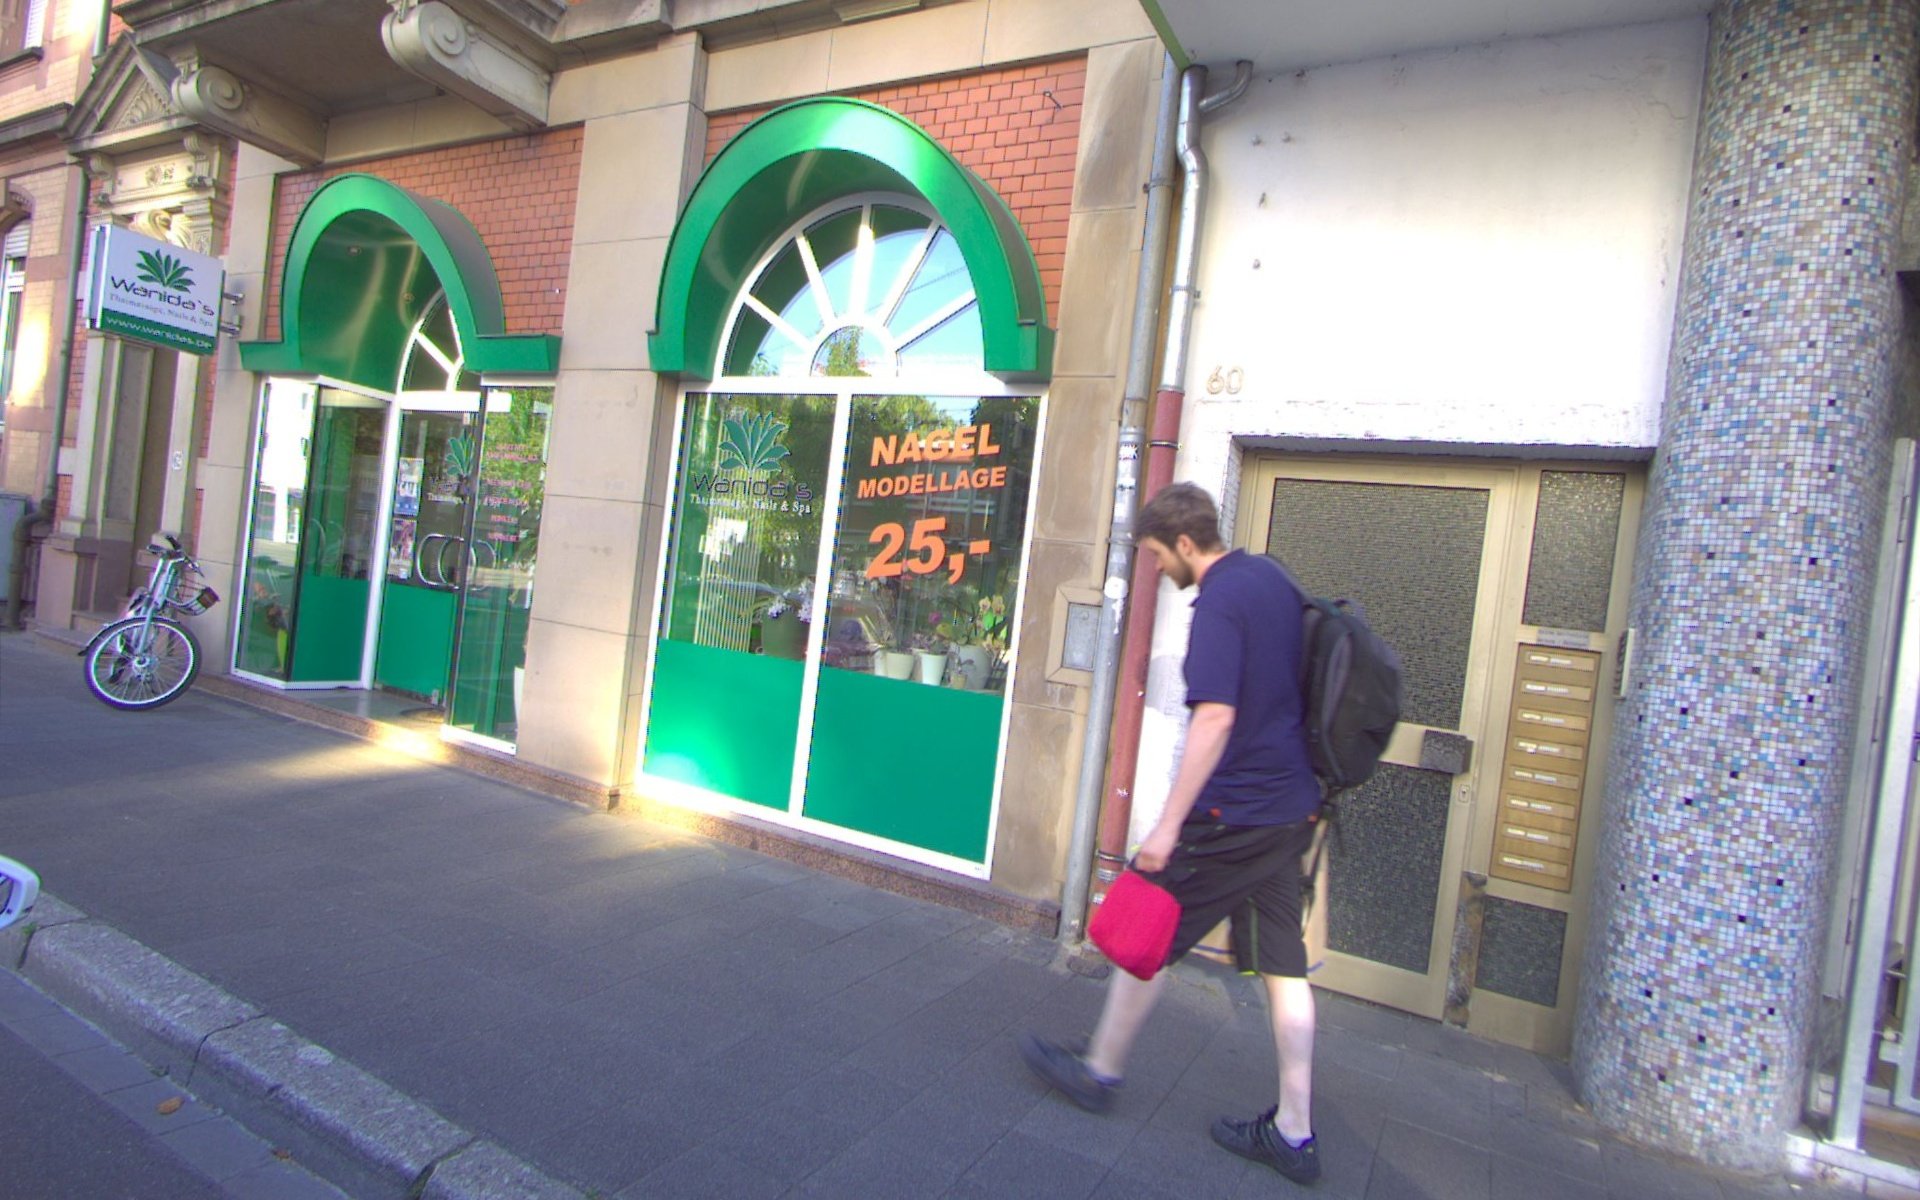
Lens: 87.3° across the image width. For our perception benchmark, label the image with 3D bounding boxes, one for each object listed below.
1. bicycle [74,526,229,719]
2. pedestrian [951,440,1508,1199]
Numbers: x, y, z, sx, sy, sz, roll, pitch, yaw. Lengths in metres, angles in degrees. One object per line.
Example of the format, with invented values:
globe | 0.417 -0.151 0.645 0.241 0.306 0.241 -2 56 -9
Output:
bicycle | -5.788 0.125 7.166 0.712 1.167 1.635 4 2 -42
pedestrian | 0.746 0.587 2.671 1.036 1.816 0.947 7 2 28
